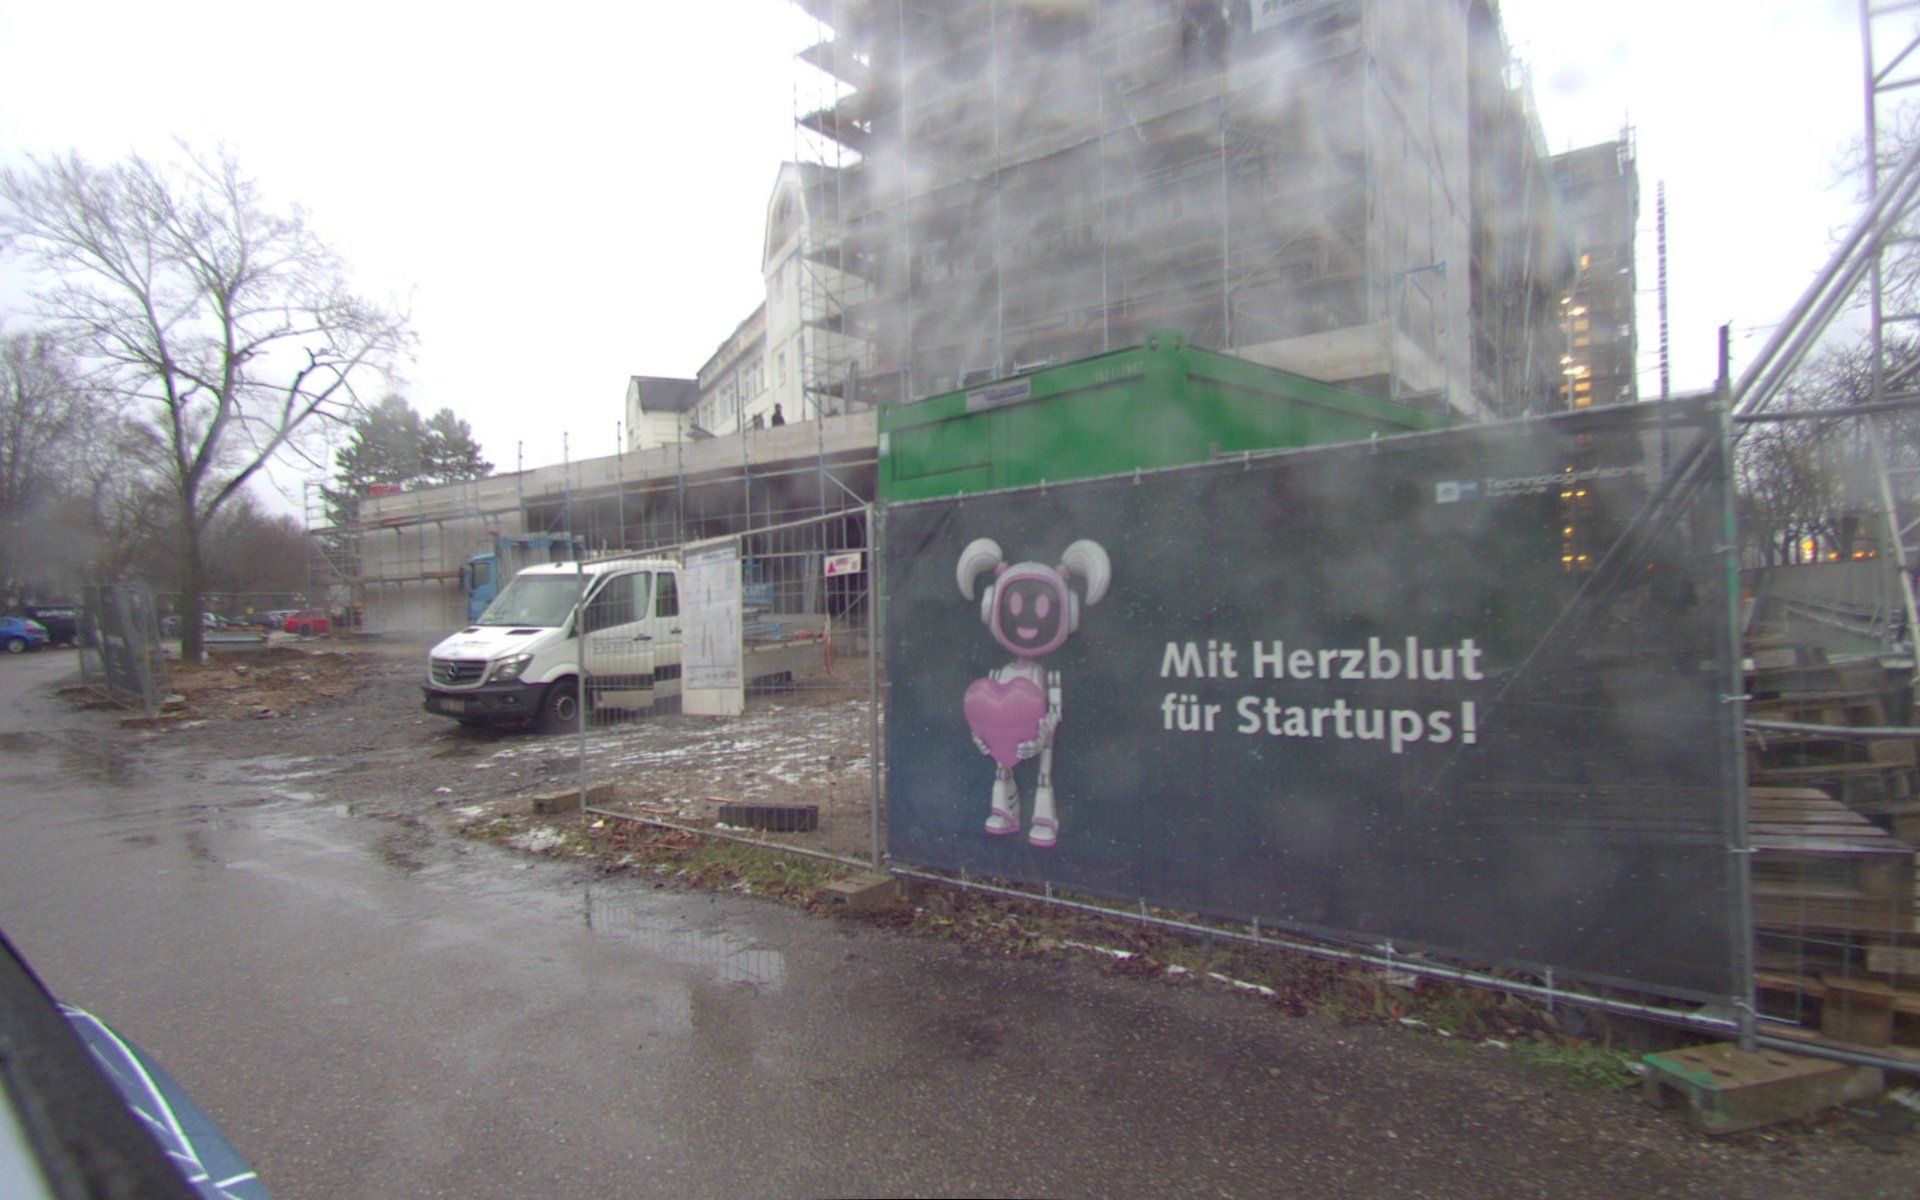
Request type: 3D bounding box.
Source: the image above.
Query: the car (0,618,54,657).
[{"bbox_3d":[-38.495,1.508,39.629,4.109,1.489,2.006,-1,-3,-27],"label":"car"}]

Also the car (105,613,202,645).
[{"bbox_3d":[-46.206,1.625,58.086,3.930,1.674,2.007,-1,0,-24],"label":"car"}]

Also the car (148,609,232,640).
[{"bbox_3d":[-48.848,1.541,64.320,3.930,1.809,1.808,-1,0,-24],"label":"car"}]

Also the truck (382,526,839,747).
[{"bbox_3d":[-4.767,0.325,15.518,2.123,2.607,7.014,-1,1,28],"label":"truck"}]

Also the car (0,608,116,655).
[{"bbox_3d":[-40.560,1.376,45.258,3.930,2.007,2.007,-1,0,-24],"label":"car"}]

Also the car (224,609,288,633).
[{"bbox_3d":[-56.692,1.682,81.578,3.930,1.809,1.808,-1,0,-24],"label":"car"}]

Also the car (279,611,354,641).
[{"bbox_3d":[-34.267,1.365,53.955,3.252,1.534,1.709,-1,0,-28],"label":"car"}]
